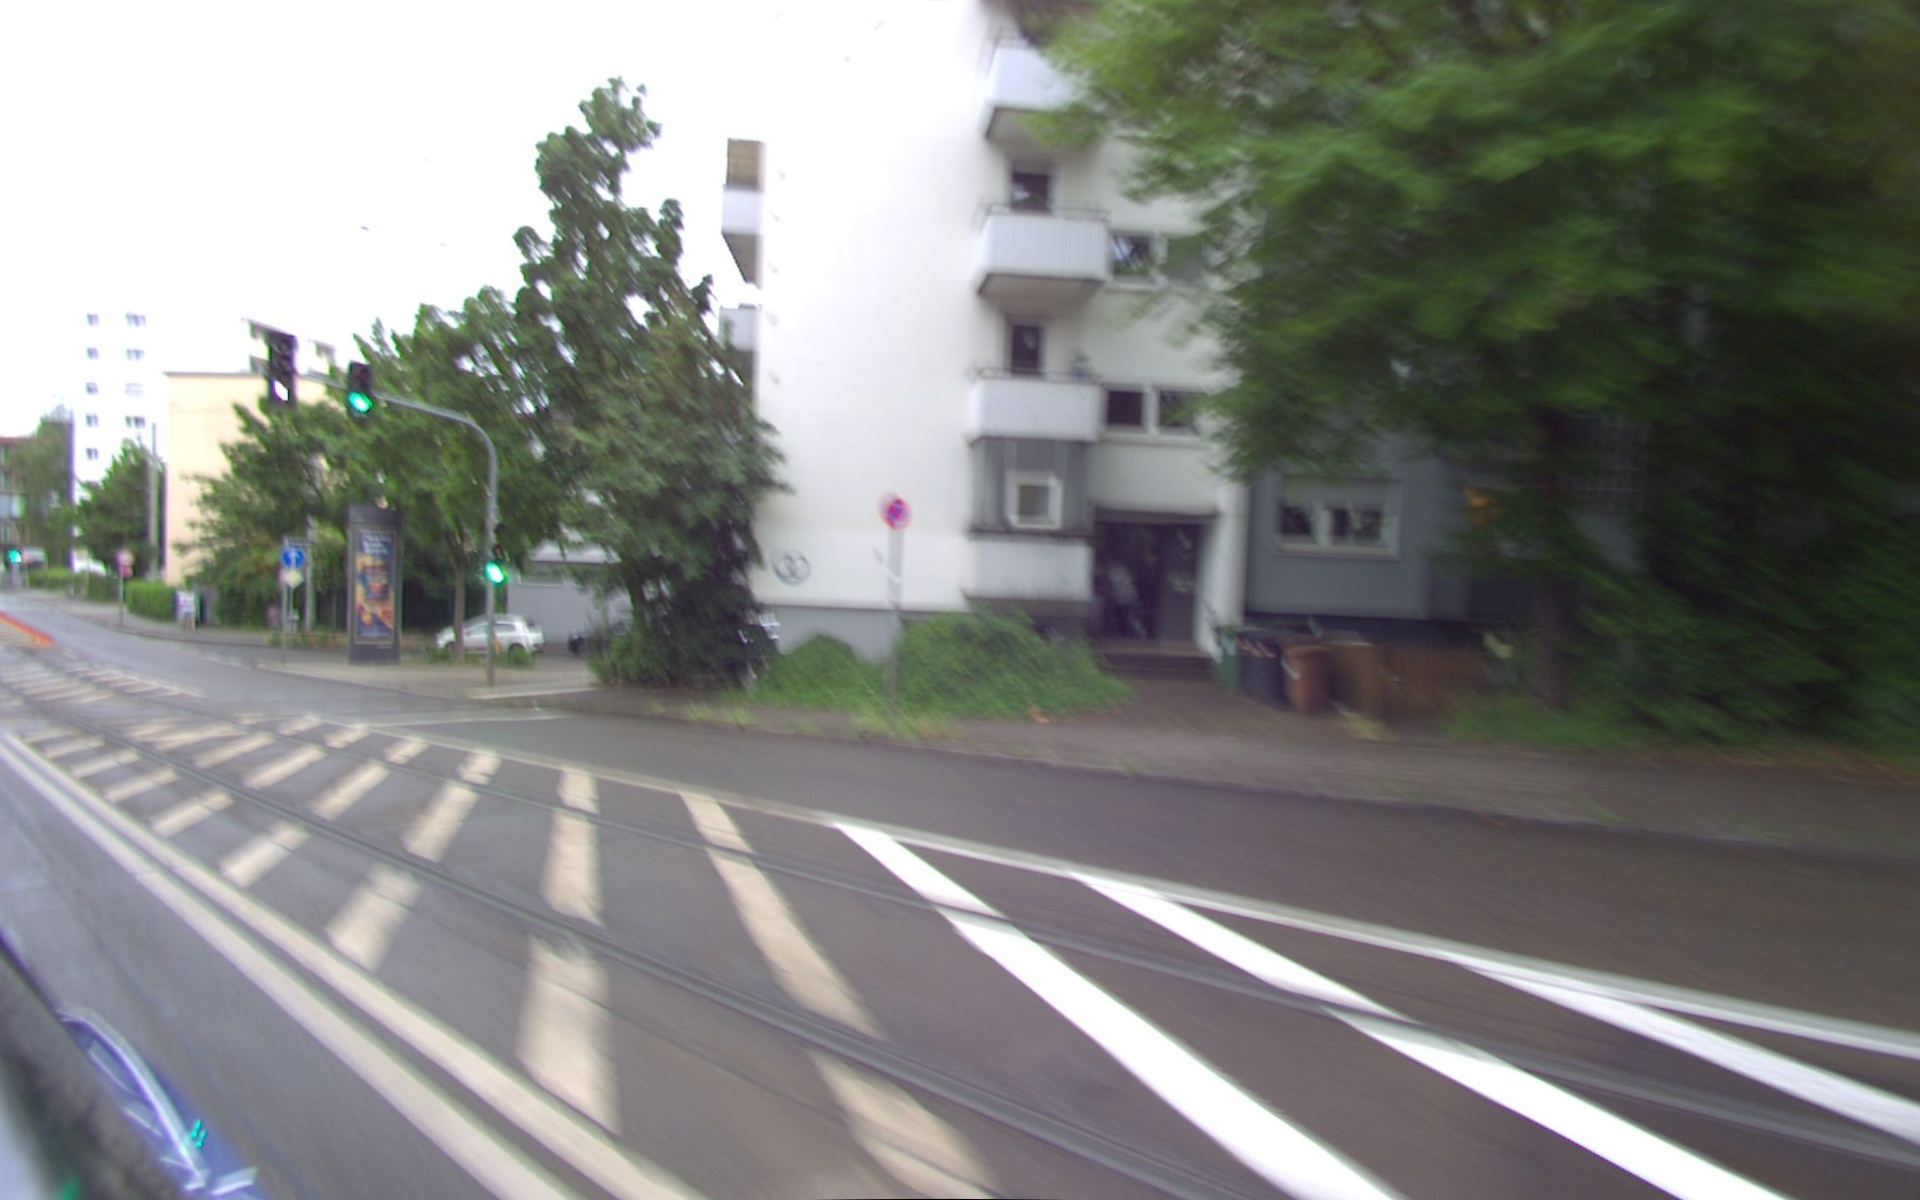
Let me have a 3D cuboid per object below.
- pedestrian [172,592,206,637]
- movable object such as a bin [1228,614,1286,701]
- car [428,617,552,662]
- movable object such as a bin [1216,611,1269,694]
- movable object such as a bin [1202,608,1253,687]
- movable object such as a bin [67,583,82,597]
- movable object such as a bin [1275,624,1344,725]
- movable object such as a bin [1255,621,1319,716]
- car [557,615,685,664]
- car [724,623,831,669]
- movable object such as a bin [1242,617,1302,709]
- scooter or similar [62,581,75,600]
[{"bbox_3d":[-33.269,0.614,43.669,1.015,1.859,0.910,3,4,36],"label":"pedestrian"},{"bbox_3d":[4.526,0.869,15.455,0.618,1.242,0.667,2,3,0],"label":"movable object such as a bin"},{"bbox_3d":[-18.845,1.575,40.723,4.099,1.492,2.002,2,3,-2],"label":"car"},{"bbox_3d":[4.508,0.830,16.183,0.618,1.242,0.667,2,3,0],"label":"movable object such as a bin"},{"bbox_3d":[4.460,0.790,16.916,0.618,1.242,0.627,2,3,0],"label":"movable object such as a bin"},{"bbox_3d":[-61.887,-0.710,70.723,0.759,0.888,0.680,4,4,36],"label":"movable object such as a bin"},{"bbox_3d":[4.633,0.978,13.459,0.618,1.242,0.667,2,3,0],"label":"movable object such as a bin"},{"bbox_3d":[4.553,0.941,14.125,0.618,1.242,0.667,2,3,0],"label":"movable object such as a bin"},{"bbox_3d":[-13.603,1.574,40.843,4.570,1.718,1.844,1,2,-5],"label":"car"},{"bbox_3d":[-7.358,1.858,41.197,4.110,1.590,1.844,1,2,-5],"label":"car"},{"bbox_3d":[4.541,0.906,14.769,0.618,1.242,0.667,2,3,0],"label":"movable object such as a bin"},{"bbox_3d":[-60.812,-0.648,69.032,0.565,1.193,1.603,-1,4,-40],"label":"scooter or similar"}]
